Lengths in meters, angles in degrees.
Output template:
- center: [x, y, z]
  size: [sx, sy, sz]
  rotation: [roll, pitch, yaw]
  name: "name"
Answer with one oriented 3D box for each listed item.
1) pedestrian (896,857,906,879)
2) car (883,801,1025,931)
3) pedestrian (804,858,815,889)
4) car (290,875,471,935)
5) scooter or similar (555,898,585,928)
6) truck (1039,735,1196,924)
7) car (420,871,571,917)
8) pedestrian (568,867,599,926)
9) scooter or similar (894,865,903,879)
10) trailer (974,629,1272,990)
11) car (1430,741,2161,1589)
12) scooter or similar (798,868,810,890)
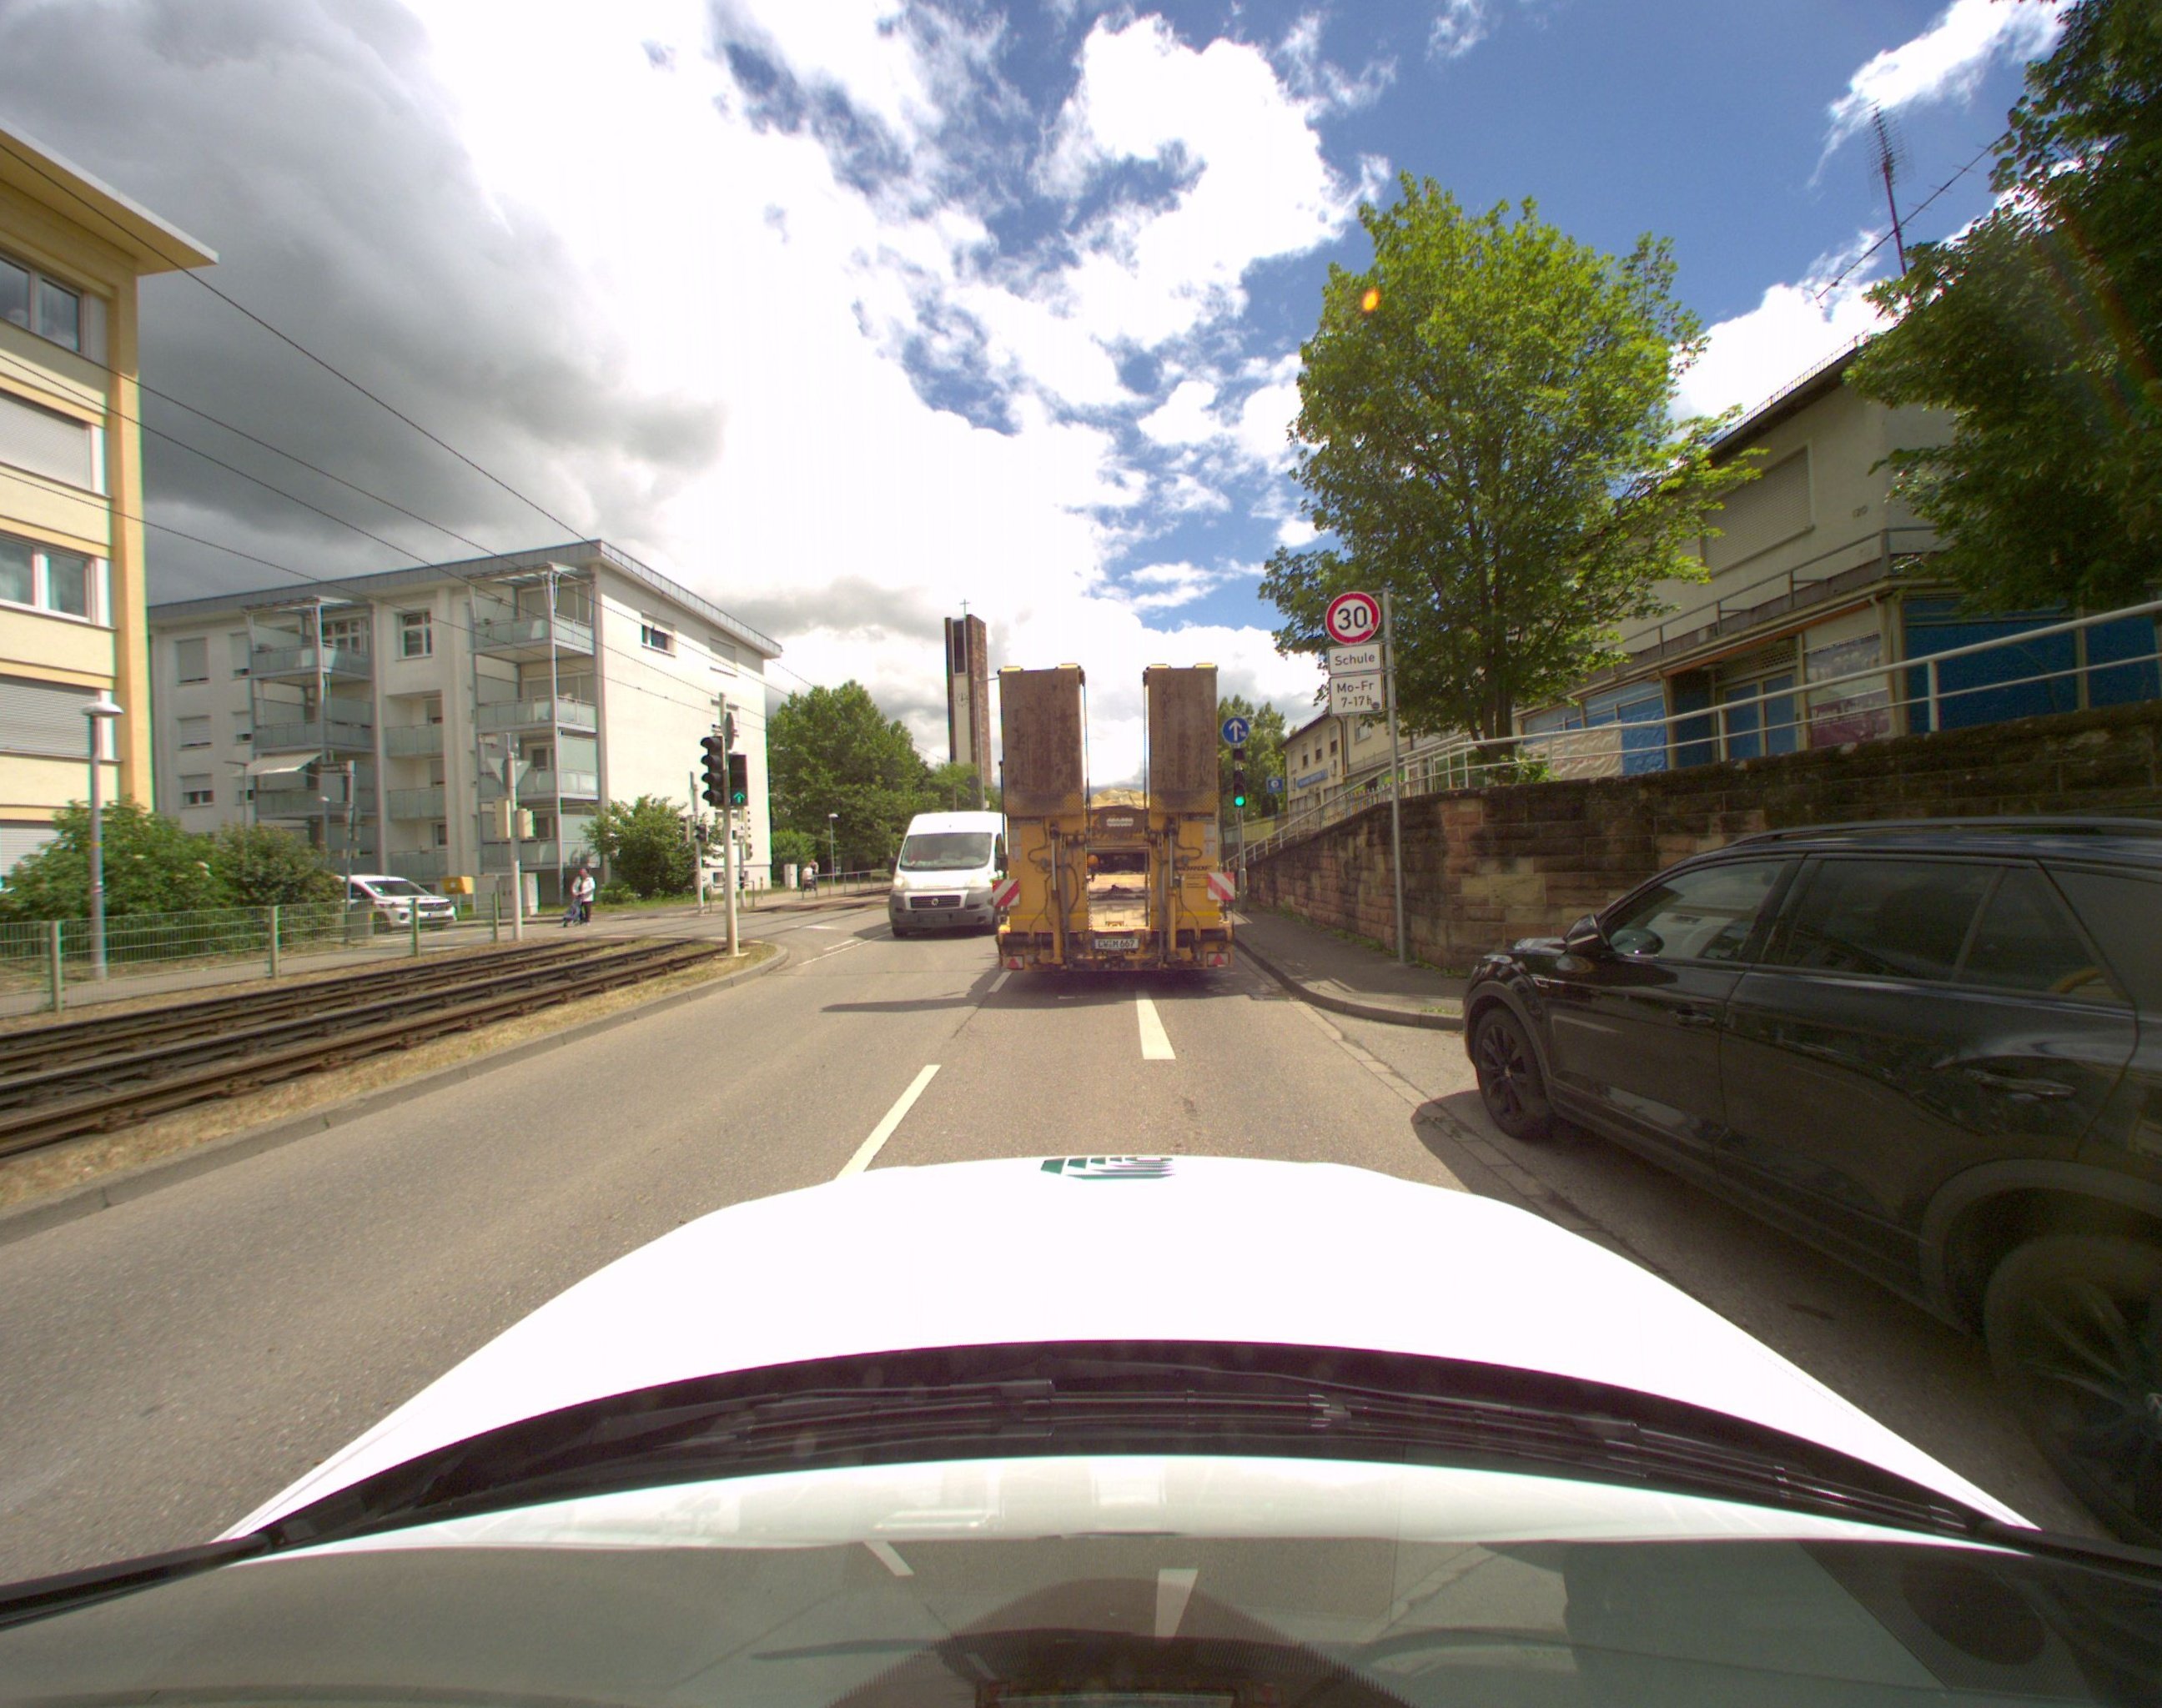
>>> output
- center: [-12.749, 0.992, 57.742]
  size: [0.562, 1.513, 0.645]
  rotation: [0, 0, 0]
  name: "pedestrian"
- center: [-2.493, 0.219, 17.476]
  size: [2.005, 2.359, 5.385]
  rotation: [0, 0, 2]
  name: "car"
- center: [-13.549, 0.972, 40.641]
  size: [0.346, 1.537, 0.558]
  rotation: [0, 0, 5]
  name: "pedestrian"
- center: [-20.807, 1.474, 24.275]
  size: [3.962, 1.651, 2.006]
  rotation: [0, 0, 10]
  name: "car"
- center: [-13.745, 1.578, 21.909]
  size: [0.435, 0.747, 0.475]
  rotation: [-2, 0, 6]
  name: "scooter or similar"
- center: [0.796, -0.485, 18.344]
  size: [2.931, 3.572, 4.879]
  rotation: [-2, 0, 2]
  name: "truck"
- center: [-20.020, 1.362, 27.934]
  size: [3.963, 1.345, 1.906]
  rotation: [-2, 0, 9]
  name: "car"
- center: [-13.726, 1.170, 22.476]
  size: [0.435, 1.580, 0.475]
  rotation: [-4, 0, 6]
  name: "pedestrian"
- center: [-12.773, 1.257, 57.090]
  size: [0.504, 0.971, 0.646]
  rotation: [0, 0, 0]
  name: "scooter or similar"
- center: [0.586, -0.465, 12.711]
  size: [2.934, 3.601, 8.688]
  rotation: [-2, 0, 2]
  name: "trailer"
- center: [3.022, 0.551, 2.950]
  size: [1.844, 1.639, 4.002]
  rotation: [-3, 0, 2]
  name: "car"
- center: [-13.603, 1.225, 40.013]
  size: [0.336, 1.057, 0.688]
  rotation: [0, 0, 5]
  name: "scooter or similar"
